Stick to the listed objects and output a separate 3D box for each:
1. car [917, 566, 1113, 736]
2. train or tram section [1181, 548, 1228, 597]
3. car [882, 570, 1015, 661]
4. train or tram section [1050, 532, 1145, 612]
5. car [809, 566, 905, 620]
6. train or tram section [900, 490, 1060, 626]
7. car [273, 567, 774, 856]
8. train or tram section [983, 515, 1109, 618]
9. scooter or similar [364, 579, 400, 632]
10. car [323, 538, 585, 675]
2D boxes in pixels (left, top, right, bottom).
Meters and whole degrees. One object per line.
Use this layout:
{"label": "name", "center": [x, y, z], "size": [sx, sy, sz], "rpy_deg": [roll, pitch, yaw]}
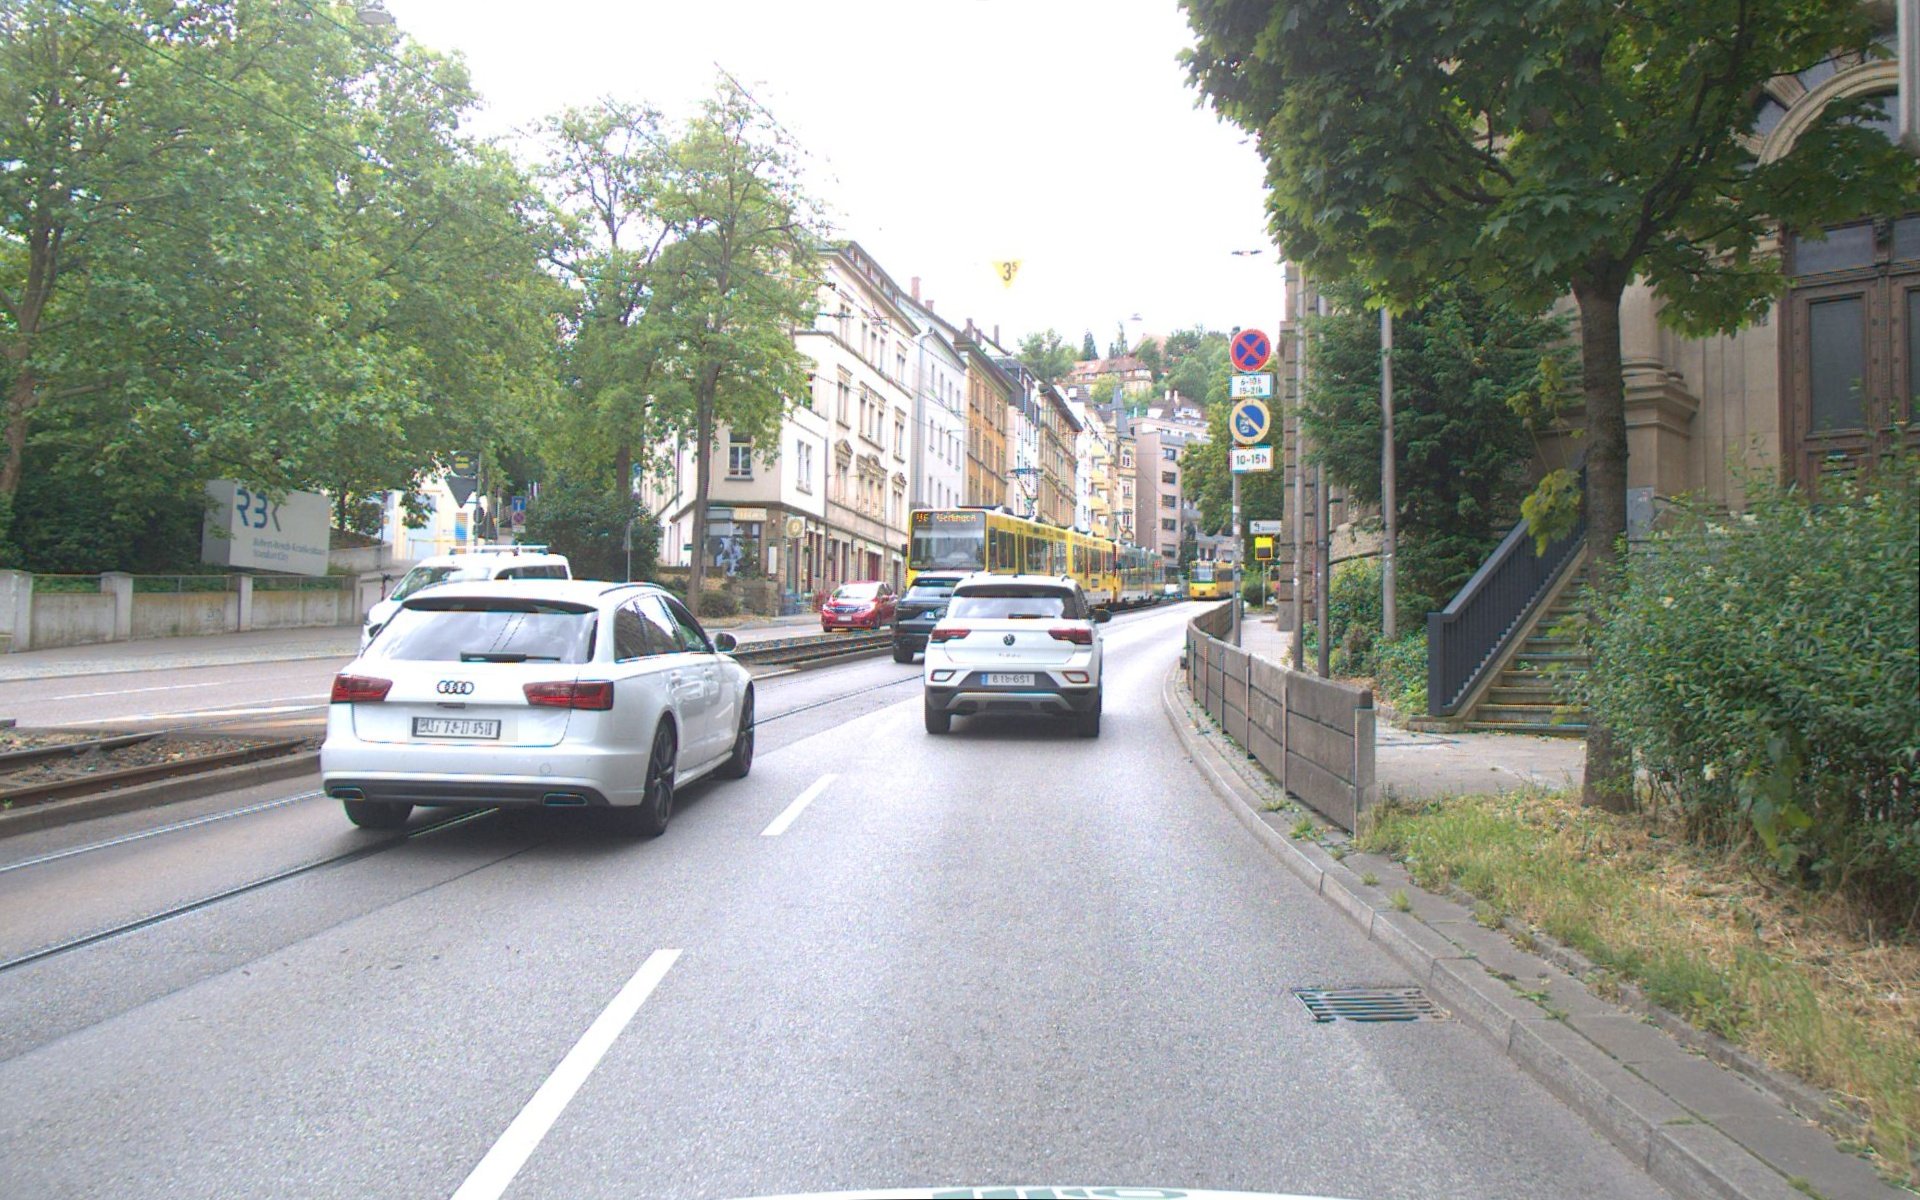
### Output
{"label": "car", "center": [0.677, 0.459, 17.577], "size": [1.839, 1.582, 4.002], "rpy_deg": [0, 0, 5]}
{"label": "train or tram section", "center": [22.904, -2.463, 153.962], "size": [2.952, 4.287, 18.875], "rpy_deg": [0, 0, 12]}
{"label": "car", "center": [-0.137, 0.253, 31.348], "size": [1.994, 1.599, 4.361], "rpy_deg": [0, 0, 6]}
{"label": "train or tram section", "center": [7.690, -1.409, 89.577], "size": [2.815, 3.790, 18.773], "rpy_deg": [2, 1, 11]}
{"label": "car", "center": [-3.058, -0.219, 49.979], "size": [1.951, 1.530, 4.003], "rpy_deg": [1, 0, 11]}
{"label": "train or tram section", "center": [1.014, -1.267, 54.699], "size": [2.821, 3.790, 14.869], "rpy_deg": [2, 1, 10]}
{"label": "car", "center": [-2.521, 0.553, 10.852], "size": [1.839, 1.480, 4.619], "rpy_deg": [0, 0, 3]}
{"label": "train or tram section", "center": [4.046, -1.328, 71.202], "size": [2.815, 3.790, 18.719], "rpy_deg": [2, 1, 11]}
{"label": "scooter or similar", "center": [-14.050, 0.131, 40.232], "size": [0.480, 1.240, 1.638], "rpy_deg": [3, 0, -9]}
{"label": "car", "center": [-7.912, 0.045, 26.467], "size": [1.906, 1.980, 5.007], "rpy_deg": [0, 1, 11]}
